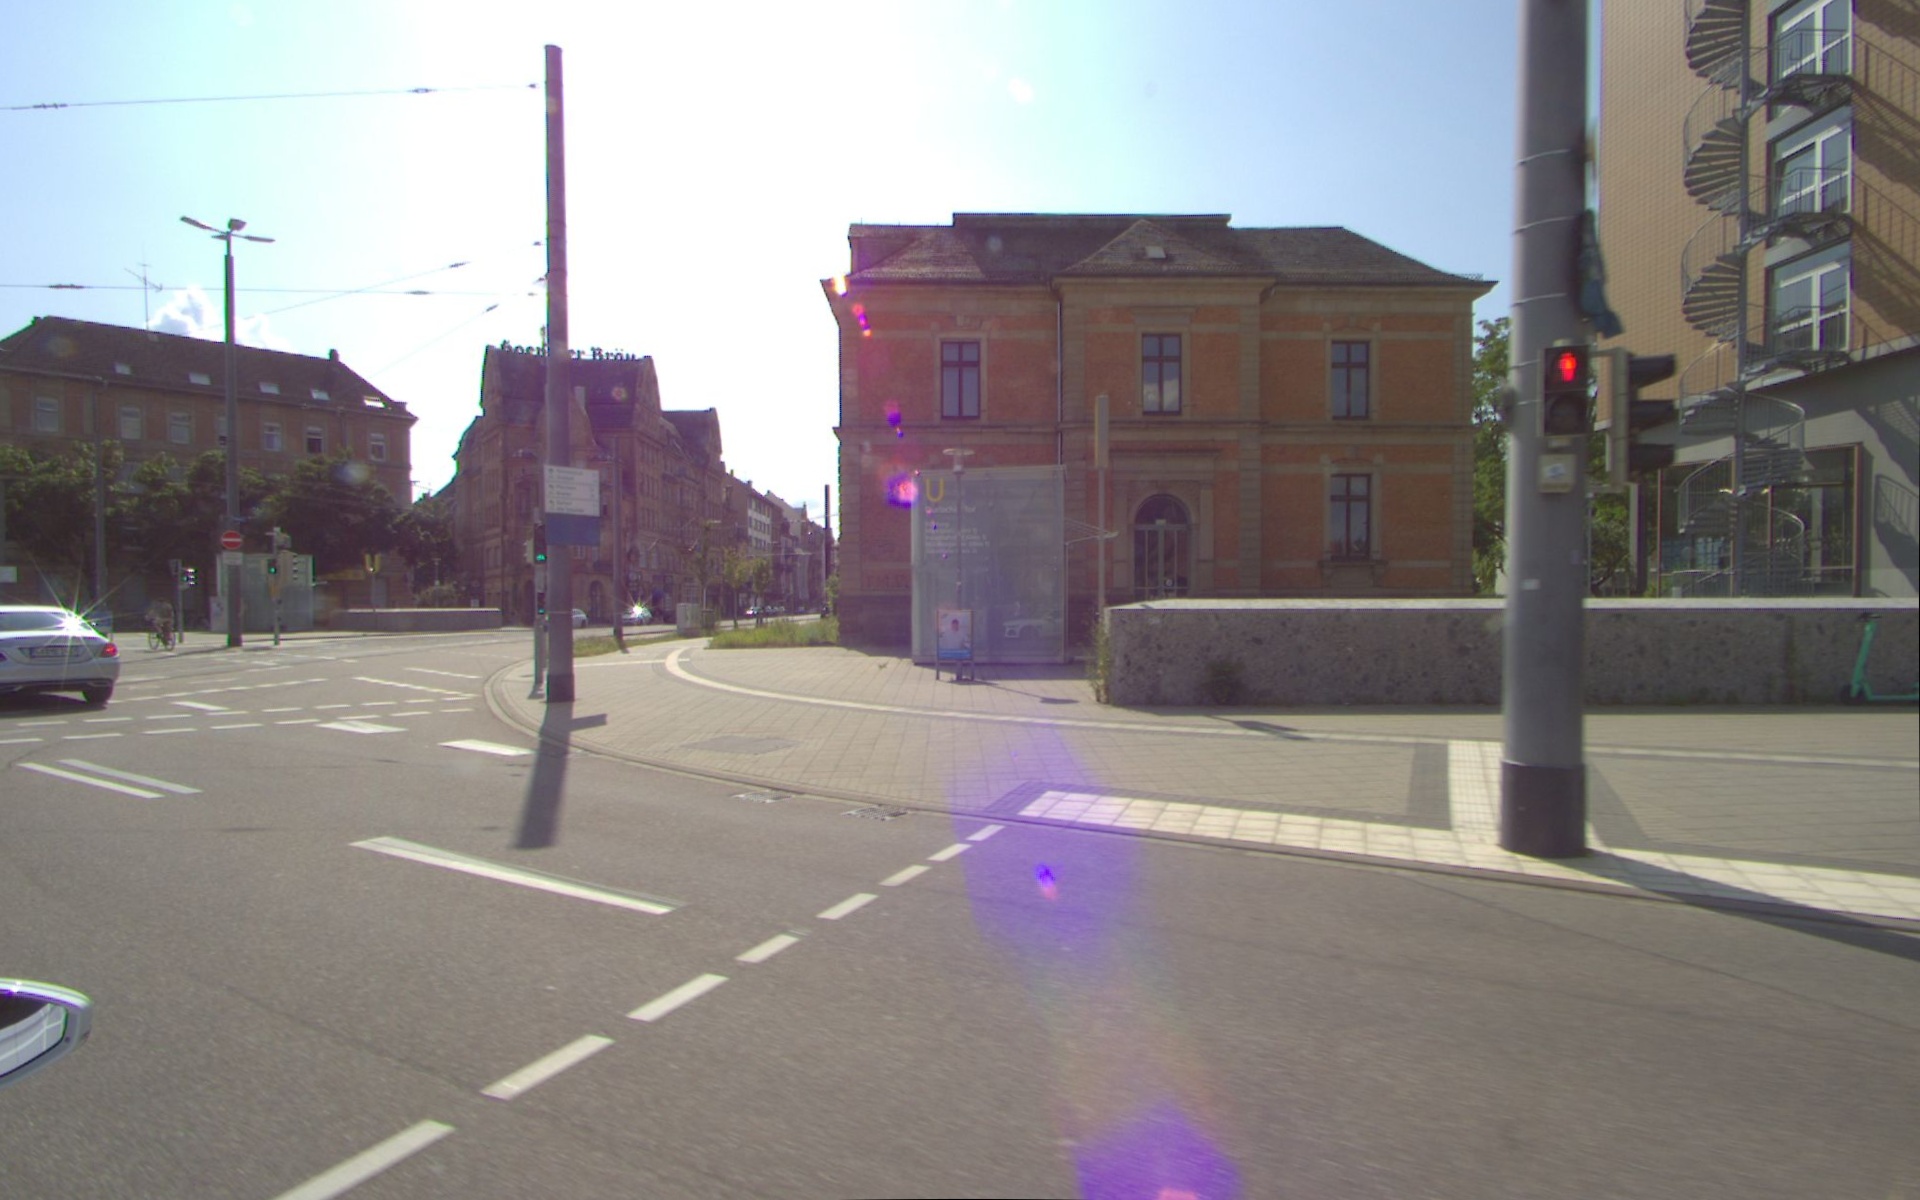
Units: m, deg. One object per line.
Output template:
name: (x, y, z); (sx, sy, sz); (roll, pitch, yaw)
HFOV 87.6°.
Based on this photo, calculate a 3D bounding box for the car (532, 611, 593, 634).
car: (-27.756, 1.546, 70.074); (2.007, 1.449, 4.538); (-2, -1, 7)

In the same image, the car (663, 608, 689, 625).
car: (-28.388, 1.657, 100.196); (1.687, 1.704, 3.927); (0, -1, -2)

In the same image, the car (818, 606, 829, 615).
car: (-28.726, 2.146, 210.333); (1.961, 1.839, 4.000); (0, -1, -2)

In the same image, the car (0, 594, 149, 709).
car: (-14.670, 0.687, 15.449); (4.689, 1.475, 1.927); (2, 0, 32)

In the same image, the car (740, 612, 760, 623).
car: (-26.302, 2.183, 125.484); (1.857, 1.438, 4.000); (0, -1, -2)

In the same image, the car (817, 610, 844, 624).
car: (-13.388, 1.731, 104.007); (1.961, 1.394, 4.000); (0, 0, 5)

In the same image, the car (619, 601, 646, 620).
car: (-26.539, 0.873, 81.172); (1.957, 1.503, 3.991); (0, 0, -18)

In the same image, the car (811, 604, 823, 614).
car: (-28.408, 1.784, 199.470); (1.961, 1.839, 4.000); (0, -1, -2)

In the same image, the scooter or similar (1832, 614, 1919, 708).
scooter or similar: (11.827, 0.751, 12.480); (1.419, 1.133, 0.466); (0, 2, 5)

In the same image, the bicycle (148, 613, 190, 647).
bicycle: (-25.082, 0.936, 31.734); (0.841, 0.983, 1.941); (-1, 1, -44)

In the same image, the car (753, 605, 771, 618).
car: (-28.641, 1.681, 145.262); (1.961, 1.839, 4.000); (0, -1, -2)

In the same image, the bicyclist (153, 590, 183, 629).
bicyclist: (-25.188, 0.287, 31.851); (0.631, 1.237, 0.914); (-1, 2, -45)

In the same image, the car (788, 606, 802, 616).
car: (-30.185, 2.066, 183.316); (1.961, 1.839, 4.000); (0, -1, -2)
